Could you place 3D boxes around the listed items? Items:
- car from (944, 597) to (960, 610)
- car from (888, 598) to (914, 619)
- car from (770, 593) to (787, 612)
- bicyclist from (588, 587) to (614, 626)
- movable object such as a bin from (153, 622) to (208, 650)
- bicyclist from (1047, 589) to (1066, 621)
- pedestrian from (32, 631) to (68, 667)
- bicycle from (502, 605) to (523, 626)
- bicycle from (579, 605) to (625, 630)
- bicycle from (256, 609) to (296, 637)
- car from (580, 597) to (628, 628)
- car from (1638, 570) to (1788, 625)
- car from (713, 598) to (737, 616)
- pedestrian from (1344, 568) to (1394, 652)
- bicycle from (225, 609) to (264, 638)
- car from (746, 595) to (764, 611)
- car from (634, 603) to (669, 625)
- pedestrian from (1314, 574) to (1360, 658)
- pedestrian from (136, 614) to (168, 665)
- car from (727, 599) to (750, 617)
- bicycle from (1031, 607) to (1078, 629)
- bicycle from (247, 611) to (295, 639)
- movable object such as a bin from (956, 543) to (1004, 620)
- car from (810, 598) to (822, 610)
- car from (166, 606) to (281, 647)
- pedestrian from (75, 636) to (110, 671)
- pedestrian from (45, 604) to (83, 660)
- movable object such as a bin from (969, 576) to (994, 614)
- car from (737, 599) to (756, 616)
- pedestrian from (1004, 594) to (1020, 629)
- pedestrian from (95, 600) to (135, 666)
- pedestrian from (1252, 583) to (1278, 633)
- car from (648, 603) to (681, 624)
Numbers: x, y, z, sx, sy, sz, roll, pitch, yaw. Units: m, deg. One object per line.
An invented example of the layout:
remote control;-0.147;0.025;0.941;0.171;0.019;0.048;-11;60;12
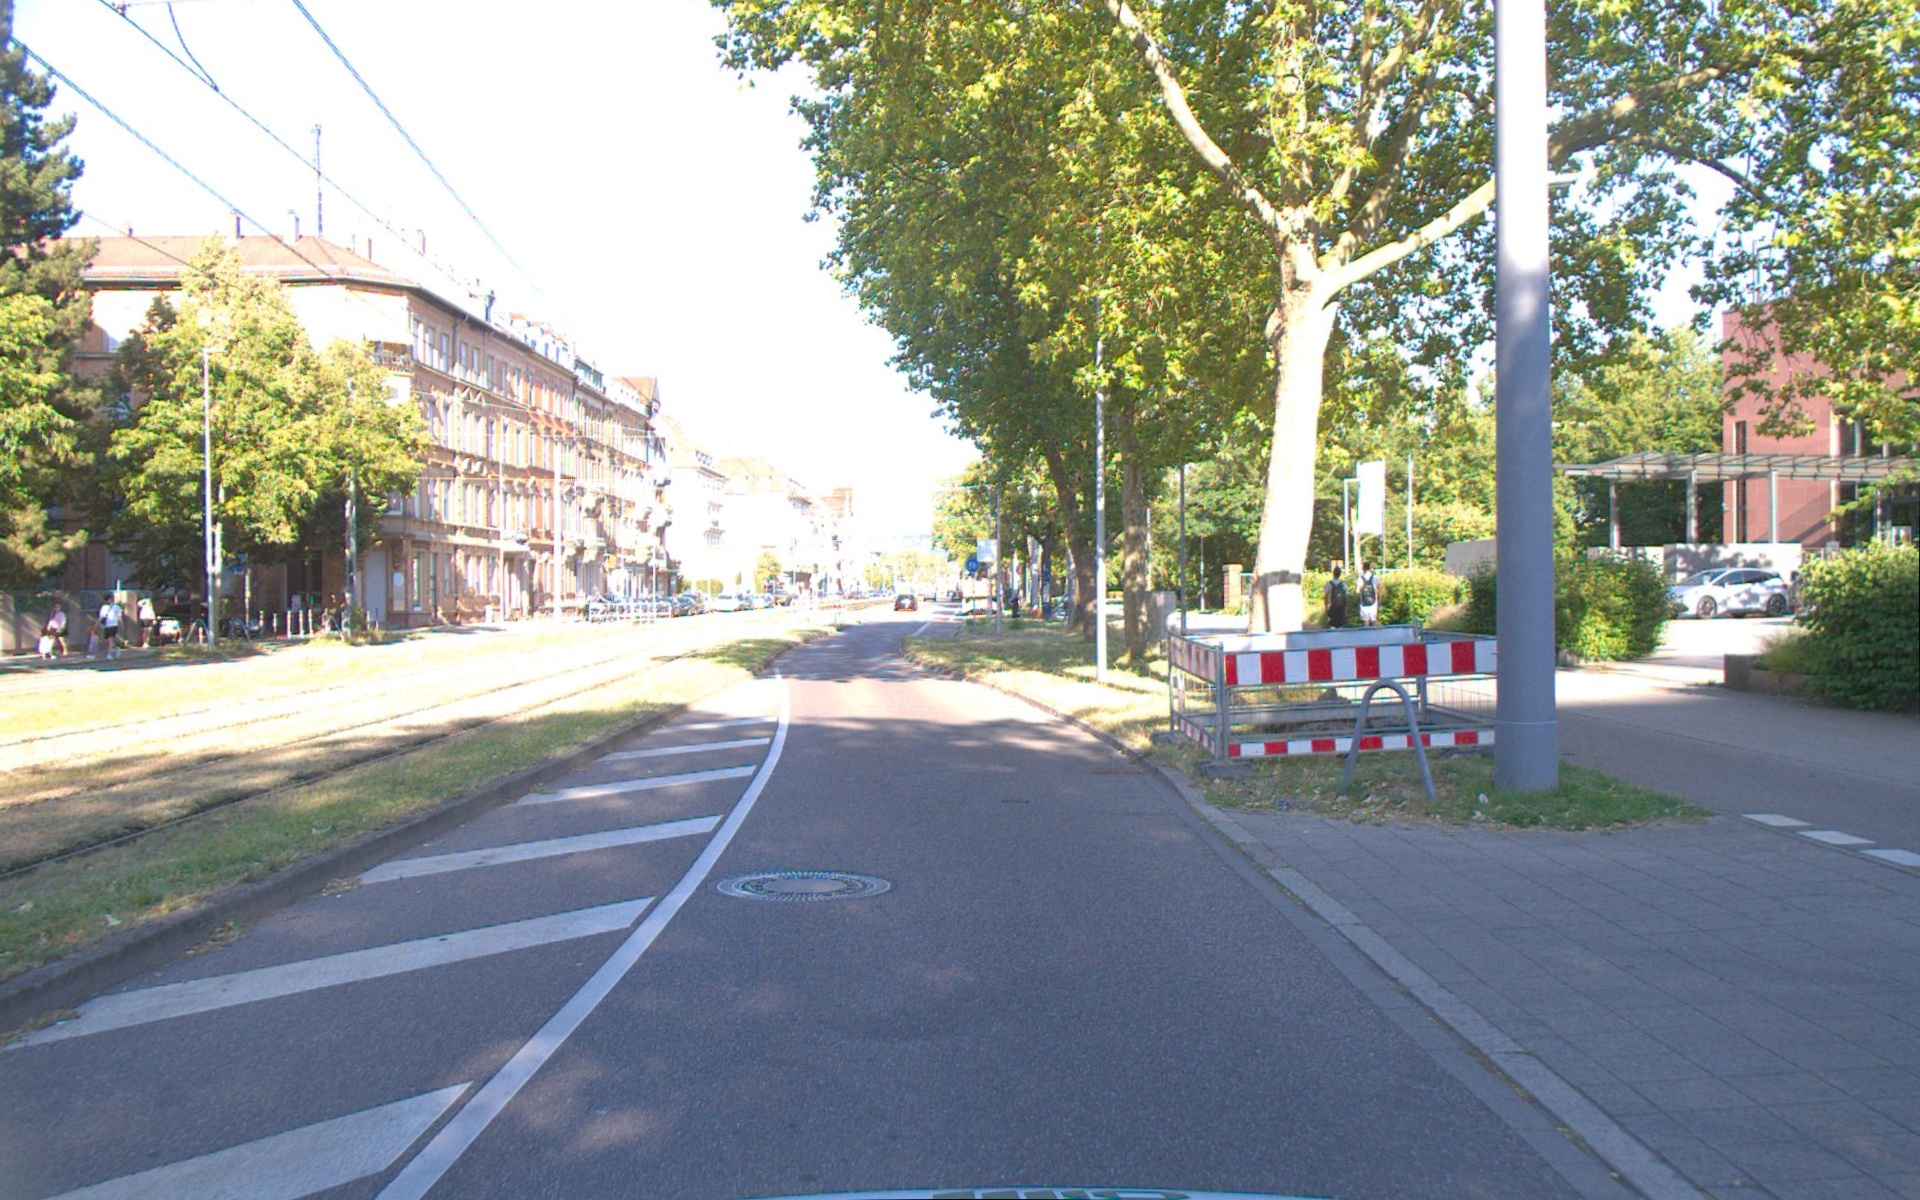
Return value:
car;-1.246;0.583;251.935;1.955;1.892;3.995;1;0;-6
car;-4.909;0.681;138.917;1.952;1.713;4.000;1;0;0
car;-21.863;0.335;199.760;1.624;2.177;3.525;1;1;0
bicyclist;-16.515;0.288;76.097;0.916;1.745;0.754;-3;3;-45
movable object such as a bin;-25.781;1.190;54.712;1.219;0.880;1.236;1;0;-2
bicyclist;4.665;0.238;79.834;0.884;1.522;0.767;-1;0;3
pedestrian;-24.822;1.322;45.116;0.637;0.948;0.585;-2;0;-3
bicycle;-25.960;0.903;95.904;0.684;1.201;1.751;1;0;1
bicycle;-16.485;0.812;76.164;0.754;1.058;1.945;1;3;45
bicycle;-30.539;1.028;73.848;0.769;1.199;2.241;1;0;2
car;-22.446;0.789;104.426;1.974;1.784;4.558;1;1;0
car;23.605;-0.090;51.882;4.100;1.533;1.988;-2;1;-20
car;-21.956;0.646;154.732;1.705;1.588;3.767;1;1;0
pedestrian;9.097;0.215;36.840;0.789;1.824;1.110;-2;0;1
bicycle;-31.279;1.011;72.370;0.769;1.199;2.240;1;0;-2
car;-21.730;0.362;175.519;1.495;1.588;3.223;1;1;0
car;-22.193;1.028;119.052;1.740;1.431;3.909;1;1;0
pedestrian;8.362;0.347;36.750;0.735;1.824;1.086;-2;0;1
pedestrian;-26.253;1.267;53.741;0.605;1.621;0.797;1;0;-2
car;-21.339;0.746;159.491;1.705;1.588;3.767;1;1;0
bicycle;4.552;0.868;79.850;2.213;1.059;0.767;-1;0;3
bicycle;-30.070;1.081;72.225;0.768;1.199;2.242;1;0;12
movable object such as a bin;1.378;-1.278;118.742;3.024;5.177;8.891;-3;0;0
car;-21.204;0.579;243.316;1.495;1.588;3.223;1;1;0
car;-28.589;1.022;64.188;4.099;1.497;1.997;0;-1;29
pedestrian;-24.515;1.511;46.728;0.636;0.948;0.585;-2;0;5
pedestrian;-25.752;0.907;47.561;0.636;1.566;0.783;-2;0;-1
movable object such as a bin;1.820;-0.445;140.755;1.928;3.065;4.796;-3;0;0
car;-21.305;0.704;165.034;1.495;1.588;3.223;1;1;0
pedestrian;2.553;0.576;81.367;0.647;1.675;0.862;-3;0;1
pedestrian;-23.735;0.919;46.458;0.636;1.806;0.888;-2;0;-1
pedestrian;9.604;0.255;52.163;0.636;1.566;0.783;-2;0;0
car;-22.047;0.986;123.572;1.740;1.431;3.909;1;1;0
